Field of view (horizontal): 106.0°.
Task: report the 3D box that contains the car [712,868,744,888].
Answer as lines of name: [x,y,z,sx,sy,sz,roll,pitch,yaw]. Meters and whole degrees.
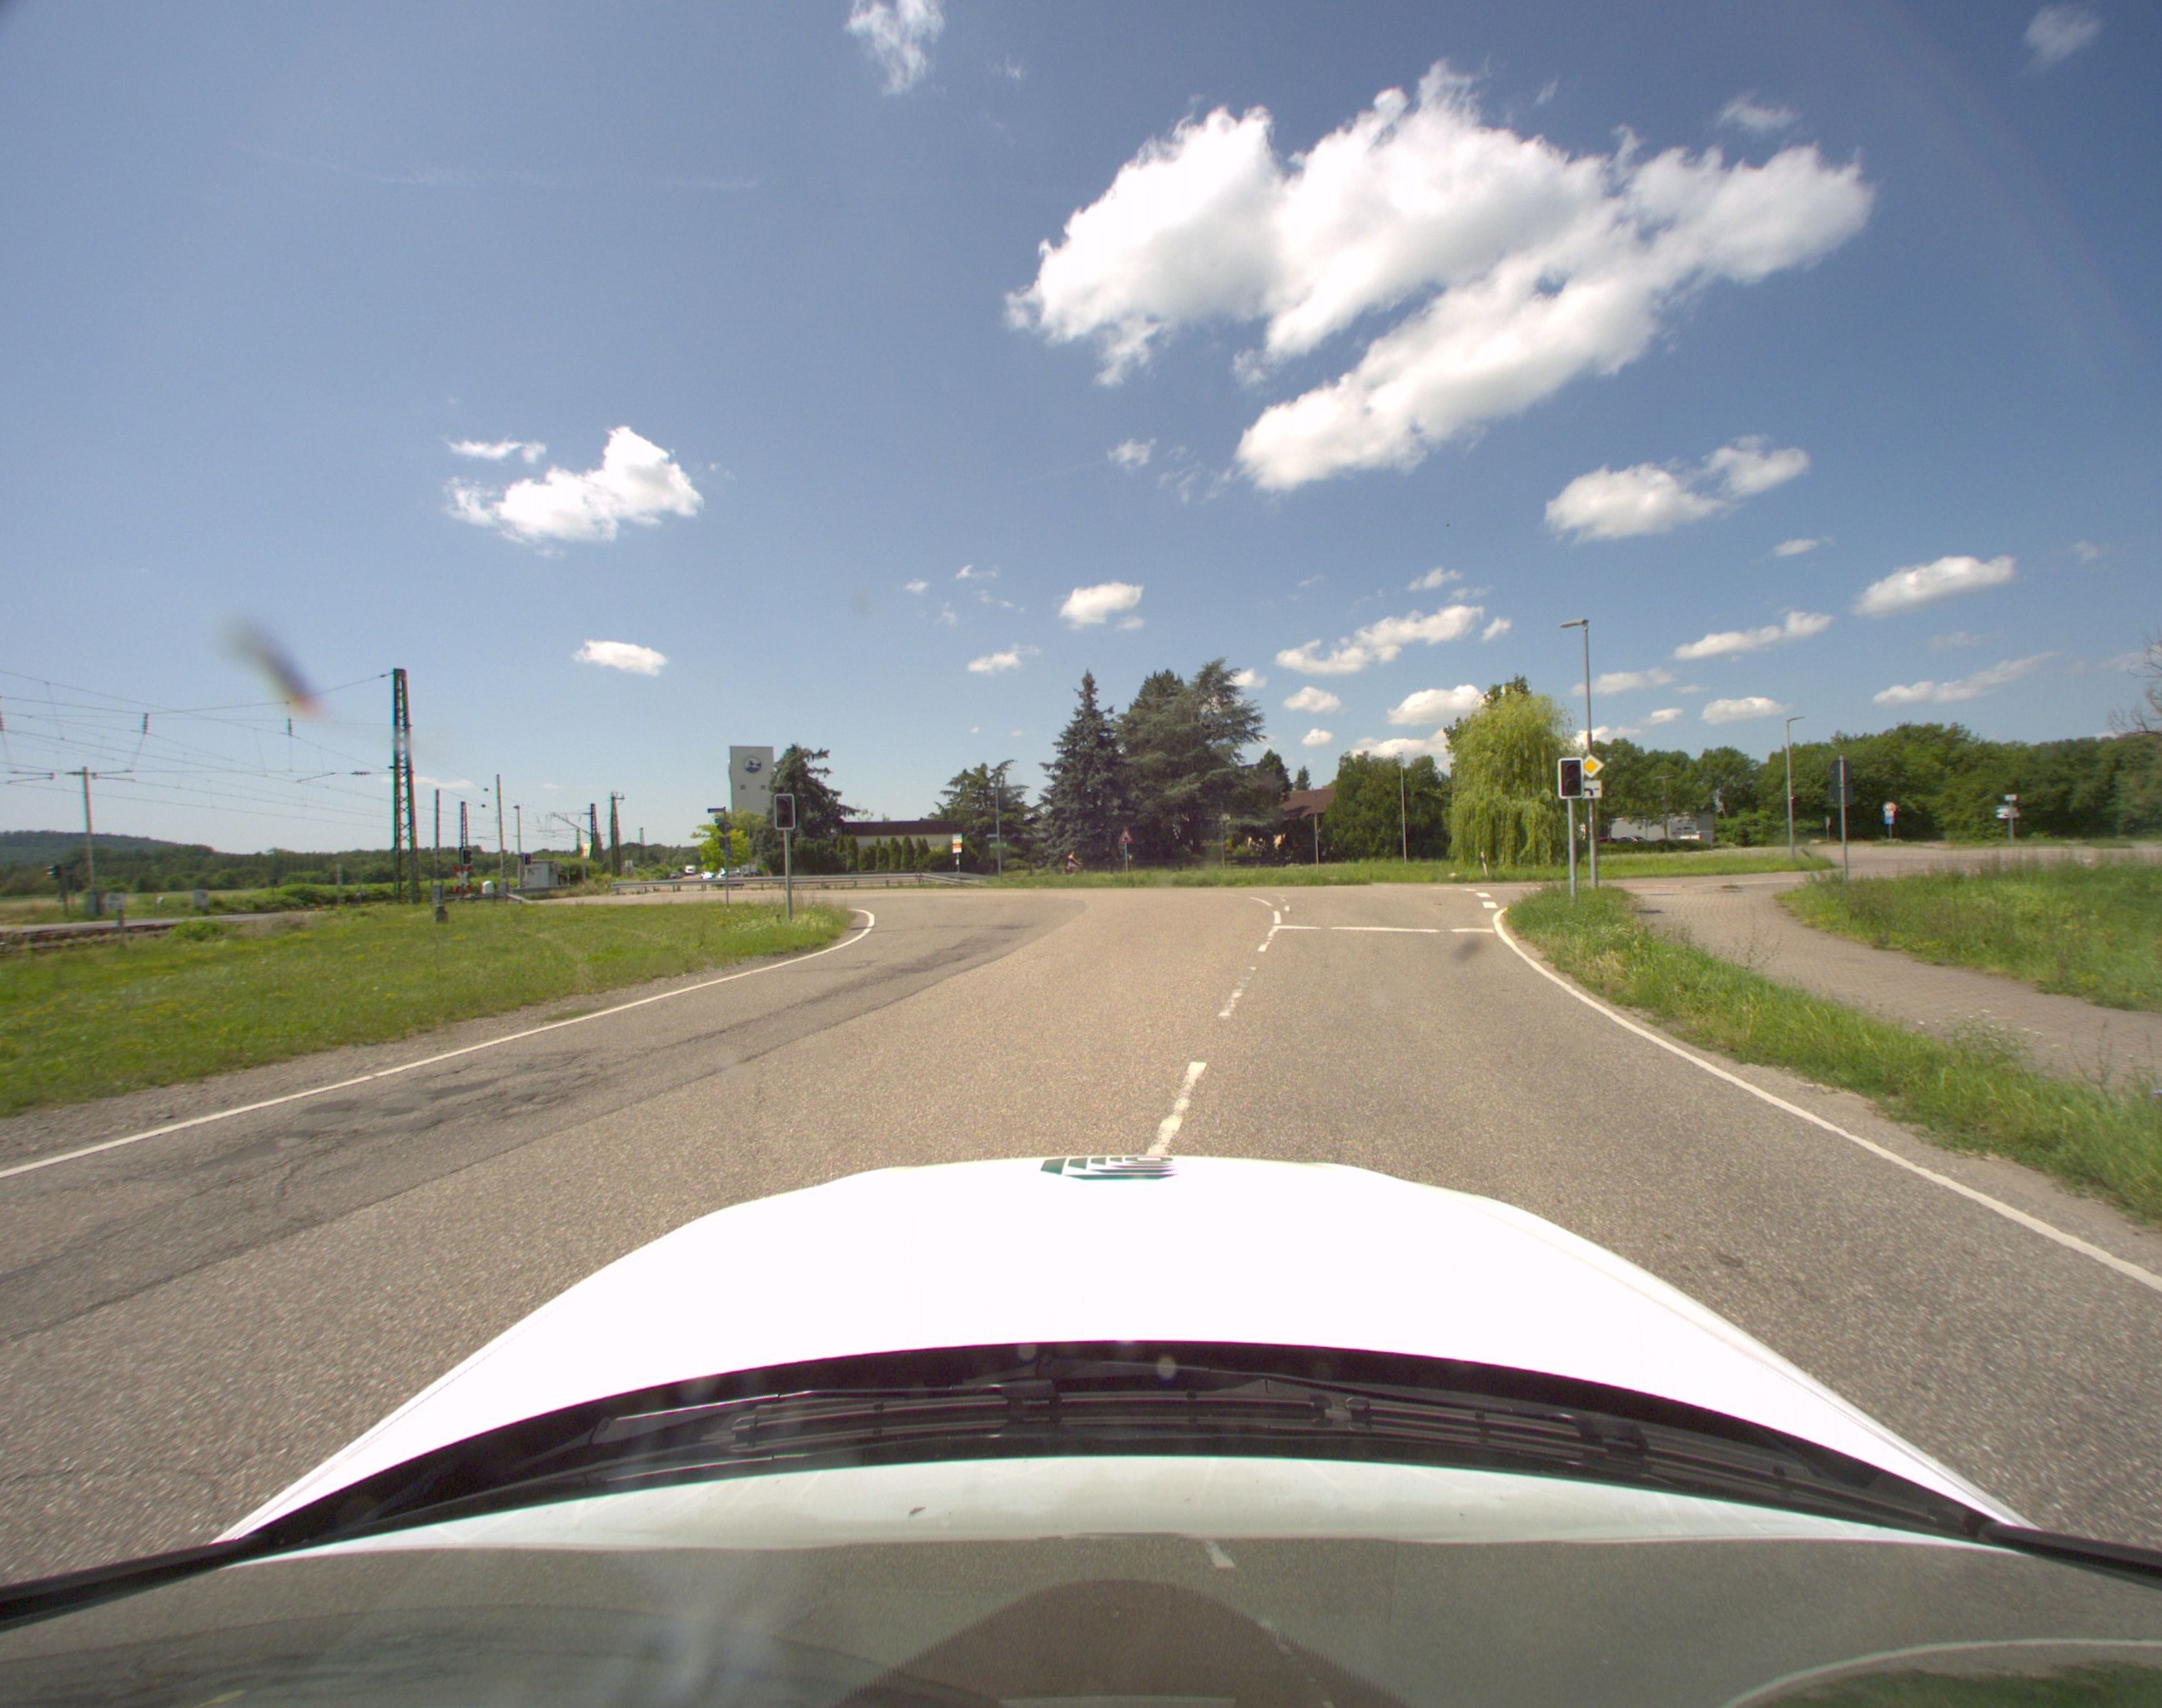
car: [-29.713,2.000,68.489,2.005,1.510,4.413,-2,0,-28]

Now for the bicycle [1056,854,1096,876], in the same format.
bicycle: [-0.269,0.592,44.895,2.136,1.164,0.660,-2,0,-5]

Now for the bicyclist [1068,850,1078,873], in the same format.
bicyclist: [-0.433,0.394,44.868,0.509,1.255,0.468,-2,0,-5]
